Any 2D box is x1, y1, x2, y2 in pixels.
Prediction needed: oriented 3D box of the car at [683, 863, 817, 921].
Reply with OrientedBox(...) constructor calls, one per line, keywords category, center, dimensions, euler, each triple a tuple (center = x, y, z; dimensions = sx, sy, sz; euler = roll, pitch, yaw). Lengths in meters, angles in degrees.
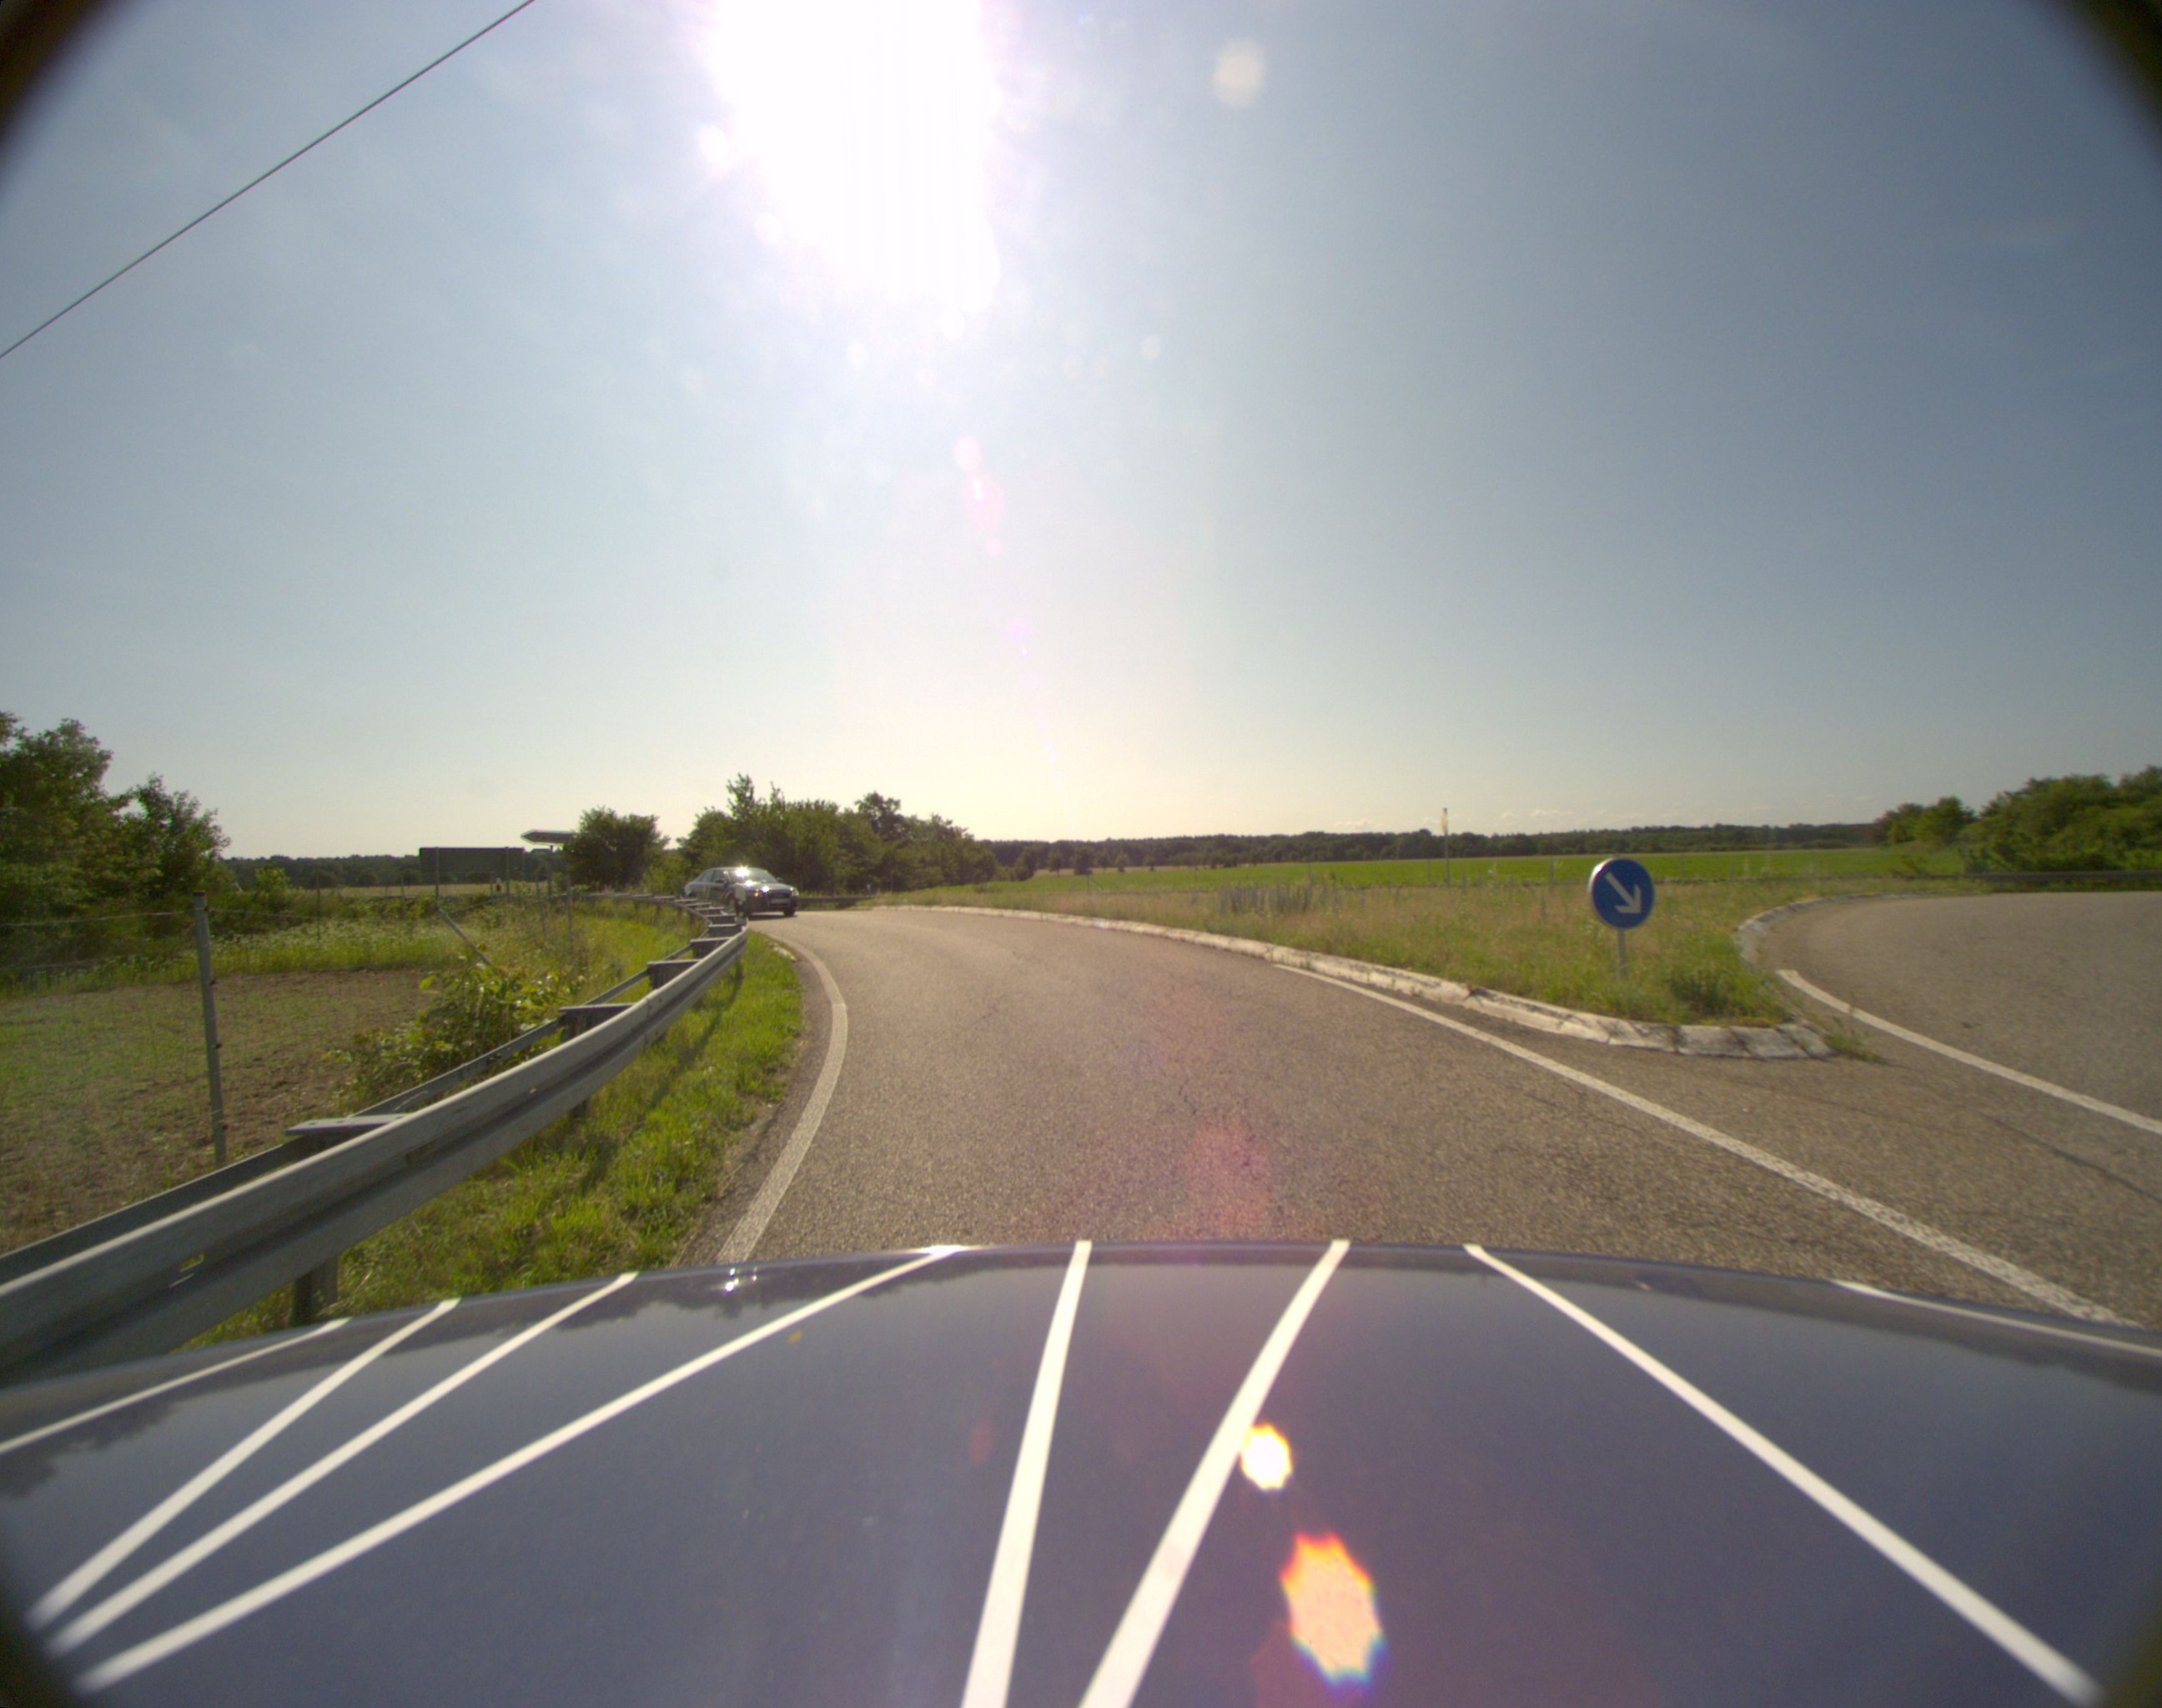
OrientedBox(category="car", center=(-9.456, 1.078, 21.596), dimensions=(4.065, 1.447, 1.892), euler=(-4, -1, 41))
